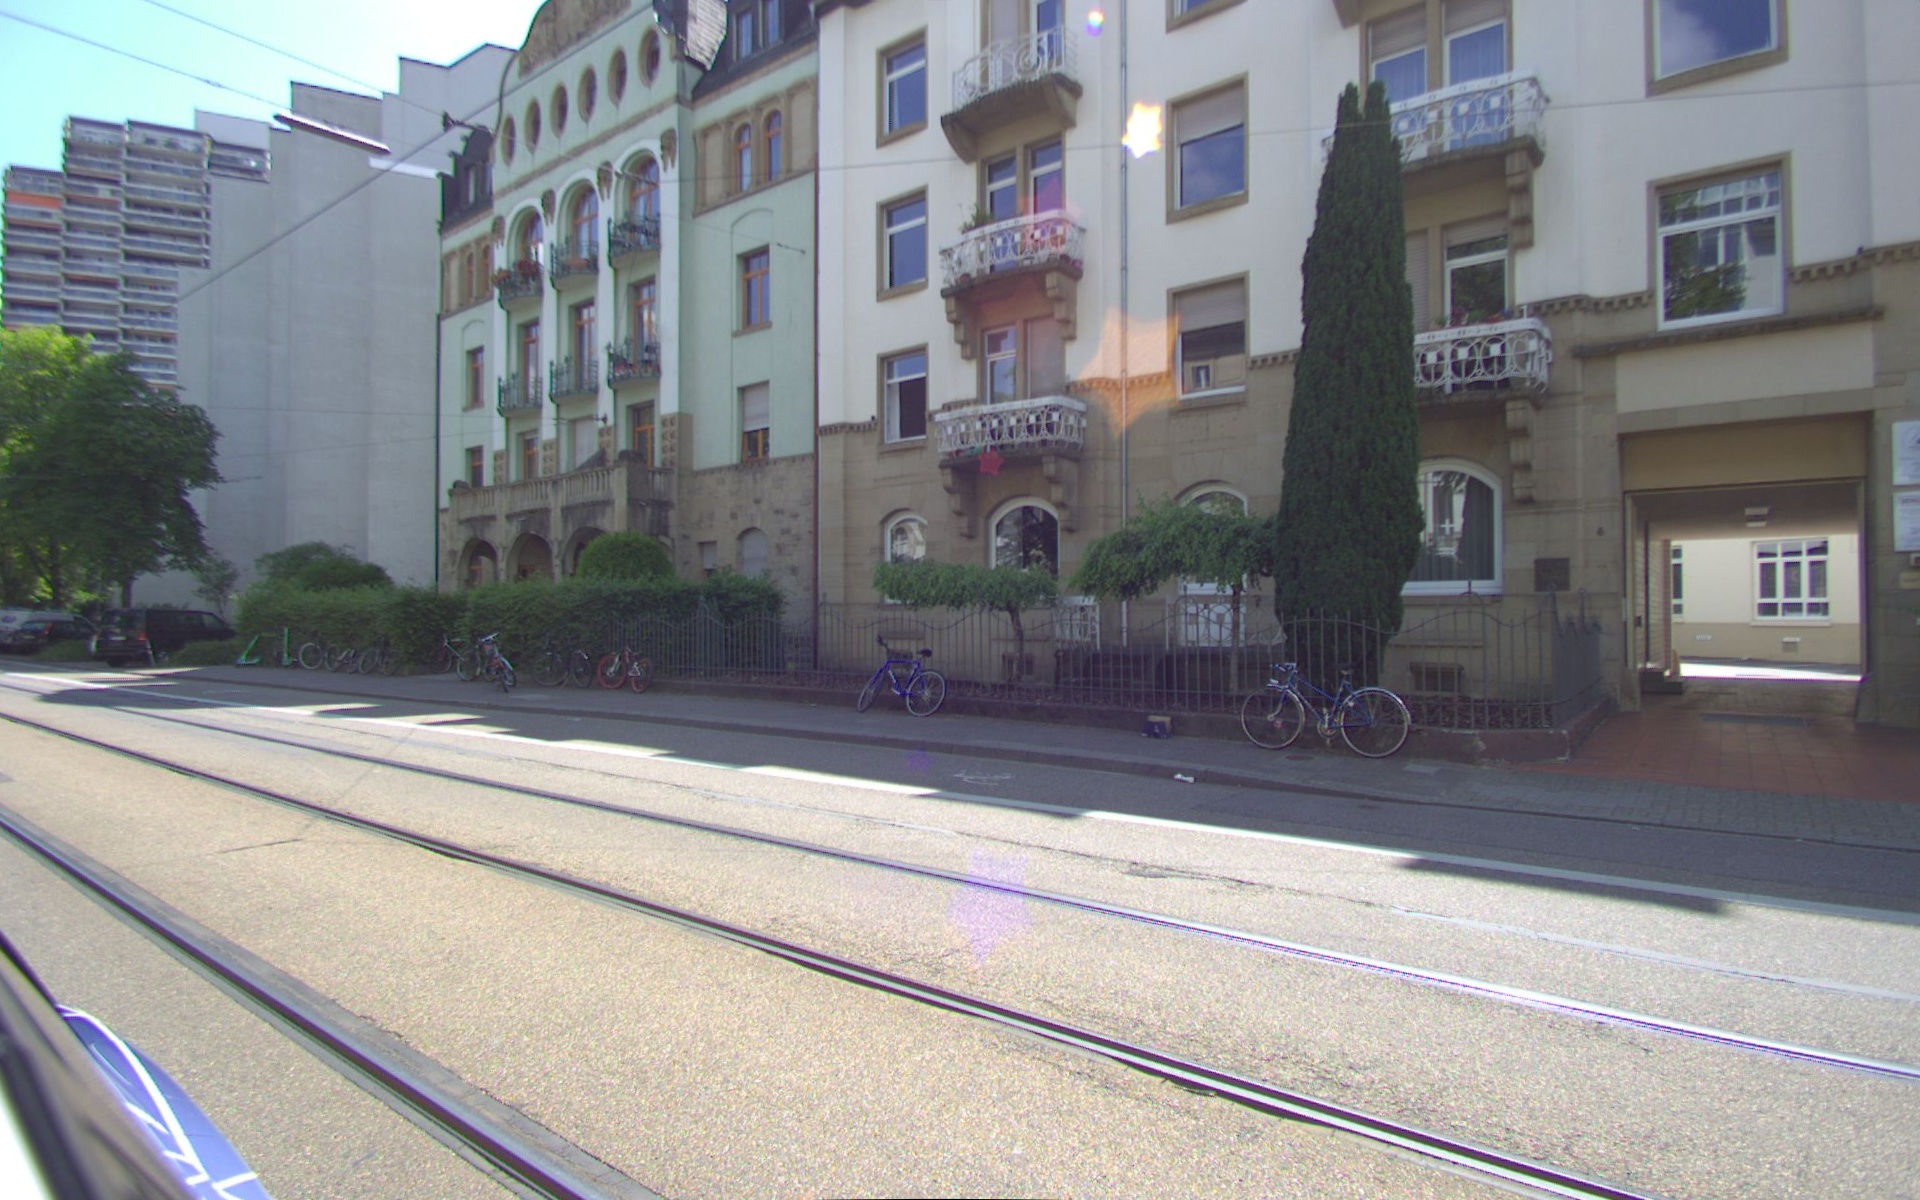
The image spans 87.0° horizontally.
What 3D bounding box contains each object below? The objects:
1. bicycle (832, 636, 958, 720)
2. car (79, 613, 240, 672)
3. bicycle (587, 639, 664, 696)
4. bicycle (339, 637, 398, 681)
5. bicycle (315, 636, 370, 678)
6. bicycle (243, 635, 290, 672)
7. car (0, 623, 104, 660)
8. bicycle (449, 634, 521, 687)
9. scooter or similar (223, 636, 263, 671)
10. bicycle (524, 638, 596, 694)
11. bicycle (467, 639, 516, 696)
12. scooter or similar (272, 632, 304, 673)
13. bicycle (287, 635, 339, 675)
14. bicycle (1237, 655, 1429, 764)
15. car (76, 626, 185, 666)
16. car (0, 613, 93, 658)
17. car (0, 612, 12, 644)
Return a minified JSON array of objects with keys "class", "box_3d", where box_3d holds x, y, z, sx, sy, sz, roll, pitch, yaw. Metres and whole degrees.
[{"class":"bicycle","box_3d":[-0.933,1.059,14.247,1.769,1.072,0.602,-2,2,38]},{"class":"car","box_3d":[-27.740,1.442,35.288,1.935,1.940,4.585,0,-1,1]},{"class":"bicycle","box_3d":[-6.099,1.209,18.415,1.723,0.973,0.409,-1,2,38]},{"class":"bicycle","box_3d":[-14.564,1.438,24.919,1.769,0.983,0.602,-2,2,38]},{"class":"bicycle","box_3d":[-15.933,1.451,26.117,1.705,0.996,0.602,-2,2,38]},{"class":"bicycle","box_3d":[-20.252,1.557,29.531,1.705,0.996,0.602,-2,2,38]},{"class":"car","box_3d":[-40.545,1.824,45.225,1.657,1.587,3.688,1,-1,-5]},{"class":"bicycle","box_3d":[-10.189,1.281,21.684,1.769,1.040,0.602,-2,2,38]},{"class":"scooter or similar","box_3d":[-21.622,1.605,30.512,1.216,1.028,0.404,-1,-2,23]},{"class":"bicycle","box_3d":[-7.719,1.251,19.478,1.705,1.006,0.460,-1,2,38]},{"class":"bicycle","box_3d":[-8.974,1.272,19.434,0.599,1.007,1.780,0,-2,-17]},{"class":"scooter or similar","box_3d":[-18.948,1.469,28.526,1.290,1.128,0.401,-1,-2,40]},{"class":"bicycle","box_3d":[-17.554,1.472,27.449,1.705,0.996,0.602,-2,2,38]},{"class":"bicycle","box_3d":[3.863,1.110,10.581,1.839,0.968,0.406,0,2,38]},{"class":"car","box_3d":[-32.621,1.775,39.918,1.699,1.465,3.633,0,-1,-8]},{"class":"car","box_3d":[-43.192,1.647,47.510,1.579,2.058,4.055,0,-1,-3]},{"class":"car","box_3d":[-62.960,1.789,64.291,1.848,2.124,4.597,0,-1,-11]}]
